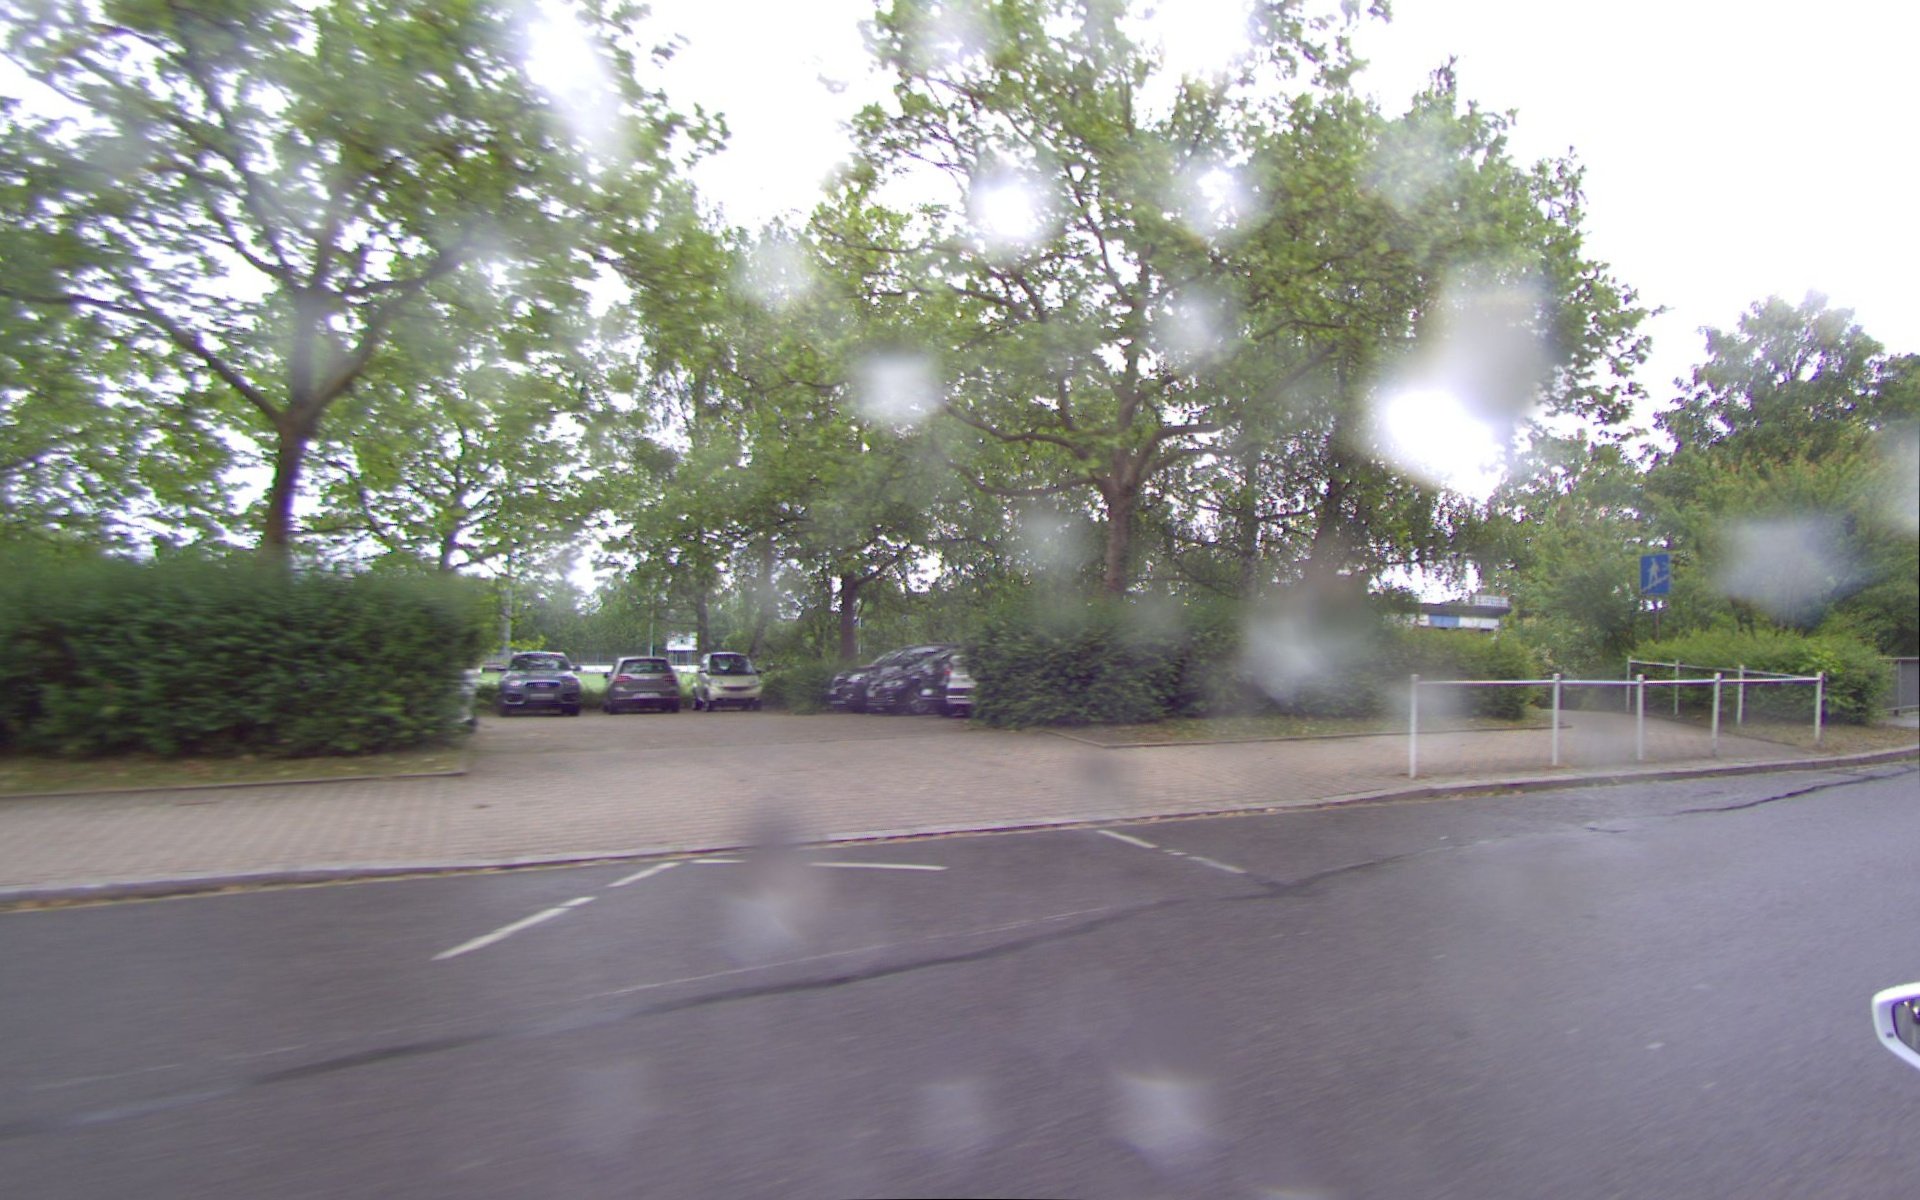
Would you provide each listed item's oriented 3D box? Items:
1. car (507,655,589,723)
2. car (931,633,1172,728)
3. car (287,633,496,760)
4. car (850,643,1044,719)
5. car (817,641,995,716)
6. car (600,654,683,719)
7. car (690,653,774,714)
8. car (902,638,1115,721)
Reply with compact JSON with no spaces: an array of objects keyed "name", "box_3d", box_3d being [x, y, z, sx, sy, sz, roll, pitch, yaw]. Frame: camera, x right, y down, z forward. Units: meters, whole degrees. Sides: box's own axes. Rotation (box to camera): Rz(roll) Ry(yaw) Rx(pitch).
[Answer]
[{"name":"car","box_3d":[-10.356,2.219,25.289,1.774,1.529,3.981,0,-5,-22]},{"name":"car","box_3d":[1.647,1.399,17.971,3.949,1.529,1.788,1,-5,-28]},{"name":"car","box_3d":[-8.053,1.358,14.685,1.772,1.529,4.497,0,-4,-18]},{"name":"car","box_3d":[-0.283,1.771,22.410,3.949,1.529,1.788,1,-5,-28]},{"name":"car","box_3d":[-1.299,1.873,24.419,3.949,1.664,1.788,1,-5,-28]},{"name":"car","box_3d":[-8.425,2.253,26.369,1.774,1.529,3.981,0,-5,-22]},{"name":"car","box_3d":[-6.413,2.316,27.932,1.773,1.529,3.983,0,-5,-21]},{"name":"car","box_3d":[0.992,1.583,20.374,3.949,1.529,1.788,1,-5,-28]}]
